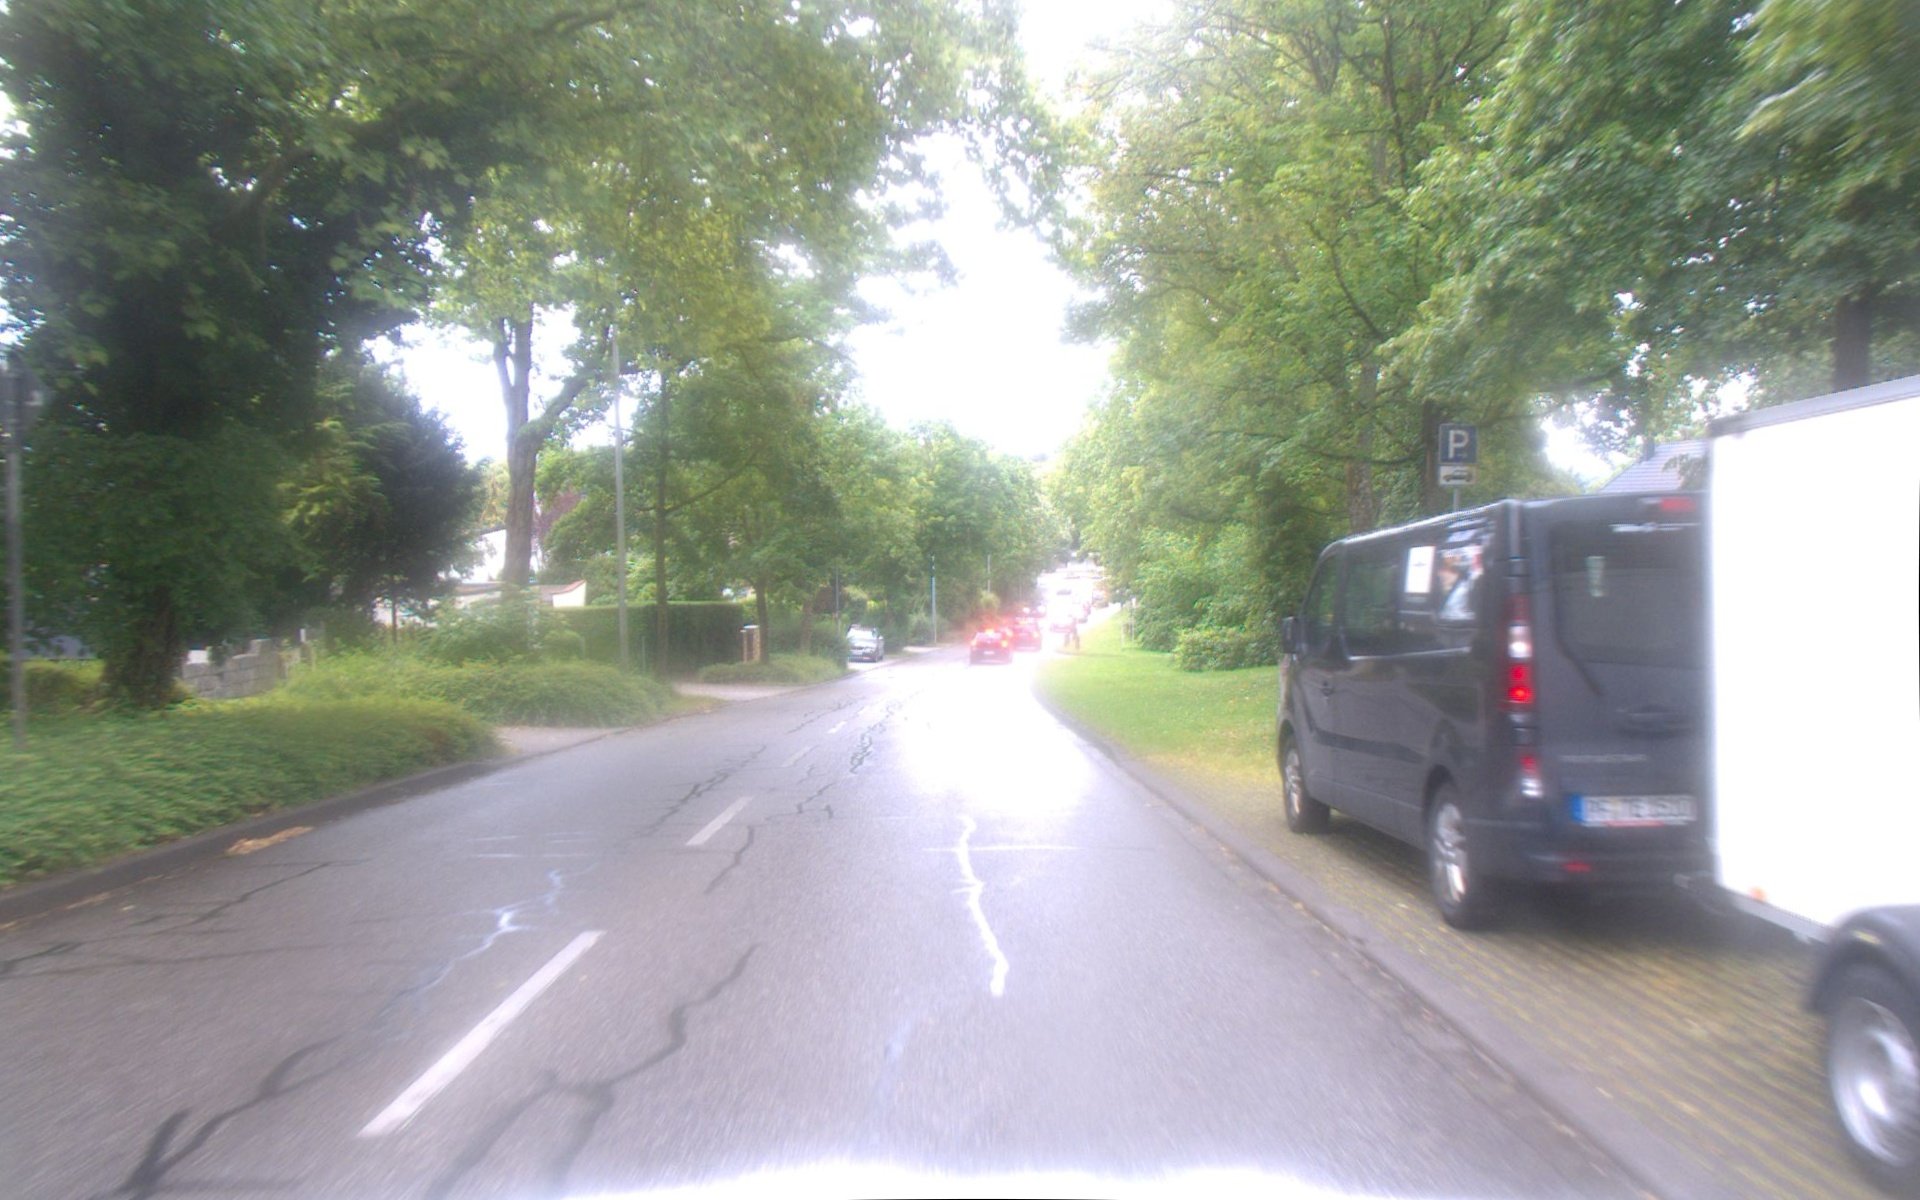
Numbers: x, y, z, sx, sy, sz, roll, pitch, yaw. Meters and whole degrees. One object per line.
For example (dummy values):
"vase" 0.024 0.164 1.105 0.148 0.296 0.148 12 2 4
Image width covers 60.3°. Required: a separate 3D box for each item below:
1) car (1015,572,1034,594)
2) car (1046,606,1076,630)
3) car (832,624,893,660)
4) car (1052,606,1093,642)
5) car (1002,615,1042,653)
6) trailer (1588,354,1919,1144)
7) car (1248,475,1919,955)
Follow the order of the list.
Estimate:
"car" 6.849 -1.777 175.565 1.952 2.047 4.003 0 5 1
"car" 7.506 1.332 123.316 1.818 1.721 3.998 -1 -1 -2
"car" -4.566 1.969 77.817 1.951 1.627 4.013 -1 -1 11
"car" 6.489 1.401 95.906 1.953 2.049 3.998 0 -1 -2
"car" 3.434 1.857 91.754 1.953 2.049 3.998 -1 -1 -2
"trailer" 3.301 0.385 4.647 1.498 2.112 4.000 -2 0 0
"car" 3.188 0.484 9.544 1.953 1.943 5.507 -1 0 -1
